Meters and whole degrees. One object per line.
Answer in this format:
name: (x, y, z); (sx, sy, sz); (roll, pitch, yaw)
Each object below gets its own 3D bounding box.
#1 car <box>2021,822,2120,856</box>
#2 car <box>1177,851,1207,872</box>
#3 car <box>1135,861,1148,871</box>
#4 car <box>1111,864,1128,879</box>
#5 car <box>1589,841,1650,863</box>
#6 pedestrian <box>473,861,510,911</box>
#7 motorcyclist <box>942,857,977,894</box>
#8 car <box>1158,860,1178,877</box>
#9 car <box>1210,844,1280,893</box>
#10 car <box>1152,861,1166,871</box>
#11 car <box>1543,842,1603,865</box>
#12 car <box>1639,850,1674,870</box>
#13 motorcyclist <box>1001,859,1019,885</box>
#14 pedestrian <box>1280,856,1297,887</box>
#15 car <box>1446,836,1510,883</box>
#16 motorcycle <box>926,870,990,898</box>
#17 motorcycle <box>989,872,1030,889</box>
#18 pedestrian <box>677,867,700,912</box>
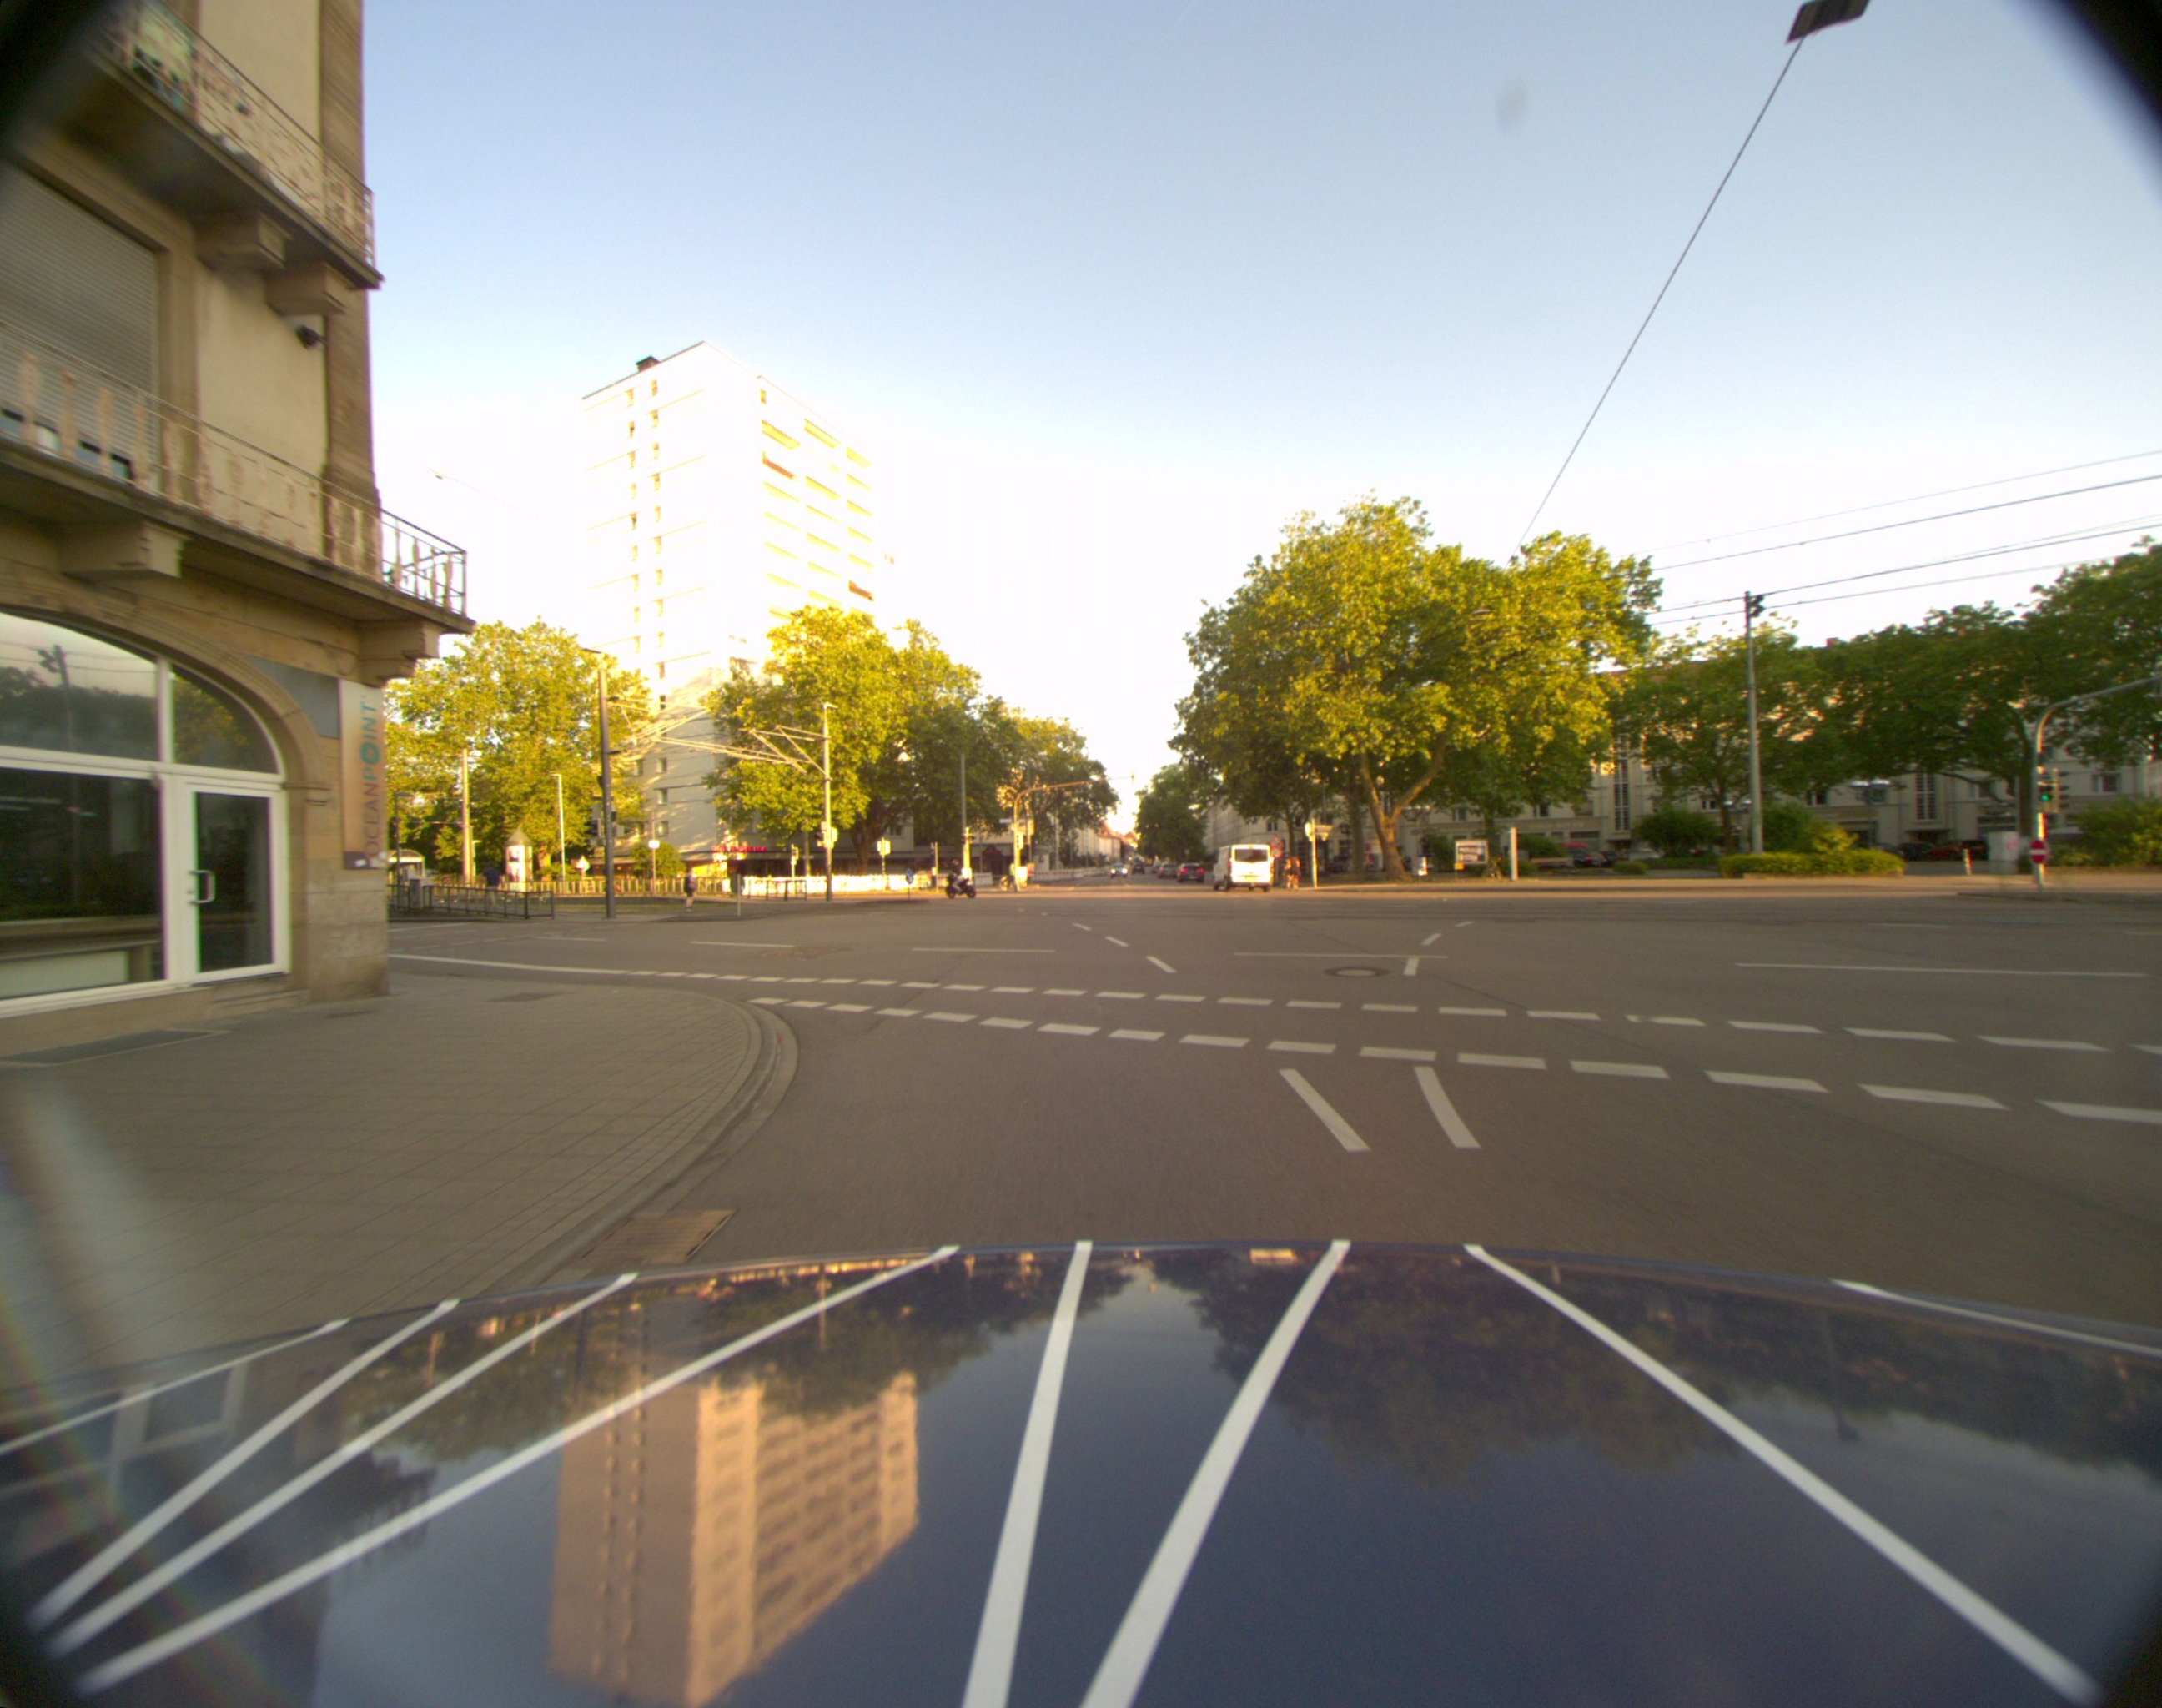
car: (59.103, -0.864, 45.492); (1.995, 1.826, 4.325); (-2, 0, 28)
car: (8.348, 0.558, 57.651); (1.998, 1.450, 4.002); (-2, 0, 5)
car: (9.418, 1.817, 117.849); (1.840, 1.419, 4.002); (-2, 0, 5)
car: (4.518, 2.039, 89.155); (1.840, 1.549, 4.002); (-2, 0, 5)
car: (44.102, -0.170, 62.334); (3.989, 1.696, 2.004); (-2, 0, 35)
pedestrian: (-21.679, 1.161, 27.949); (0.710, 1.806, 0.790); (-2, 0, 25)
motorcyclist: (-5.253, 0.927, 32.856); (1.154, 1.546, 0.910); (-2, 0, 31)
car: (8.424, 1.386, 74.125); (1.794, 1.571, 4.002); (-2, 0, 5)
car: (7.074, 0.592, 33.210); (1.992, 1.945, 4.596); (-2, 0, -1)
car: (11.876, 1.828, 115.541); (1.998, 1.419, 4.002); (-2, 0, 6)
car: (39.817, -0.044, 61.456); (3.989, 1.696, 2.004); (-2, 0, 35)
car: (52.720, 0.514, 69.710); (1.995, 1.728, 4.007); (-2, 0, 29)
motorcyclist: (-4.169, 1.044, 44.589); (0.830, 1.510, 0.622); (-2, 0, -24)
pedestrian: (10.755, 0.906, 39.422); (0.745, 1.619, 0.661); (-2, 0, 18)
car: (18.295, 0.230, 35.167); (1.865, 2.002, 3.815); (-2, 0, 16)
motorcycle: (-5.343, 1.305, 32.912); (2.799, 1.123, 0.911); (-2, 0, 31)
motorcycle: (-4.176, 1.542, 44.571); (2.288, 0.917, 0.622); (-2, 0, -24)
pedestrian: (-14.517, 1.297, 28.072); (0.663, 1.647, 0.542); (-2, 0, -33)
